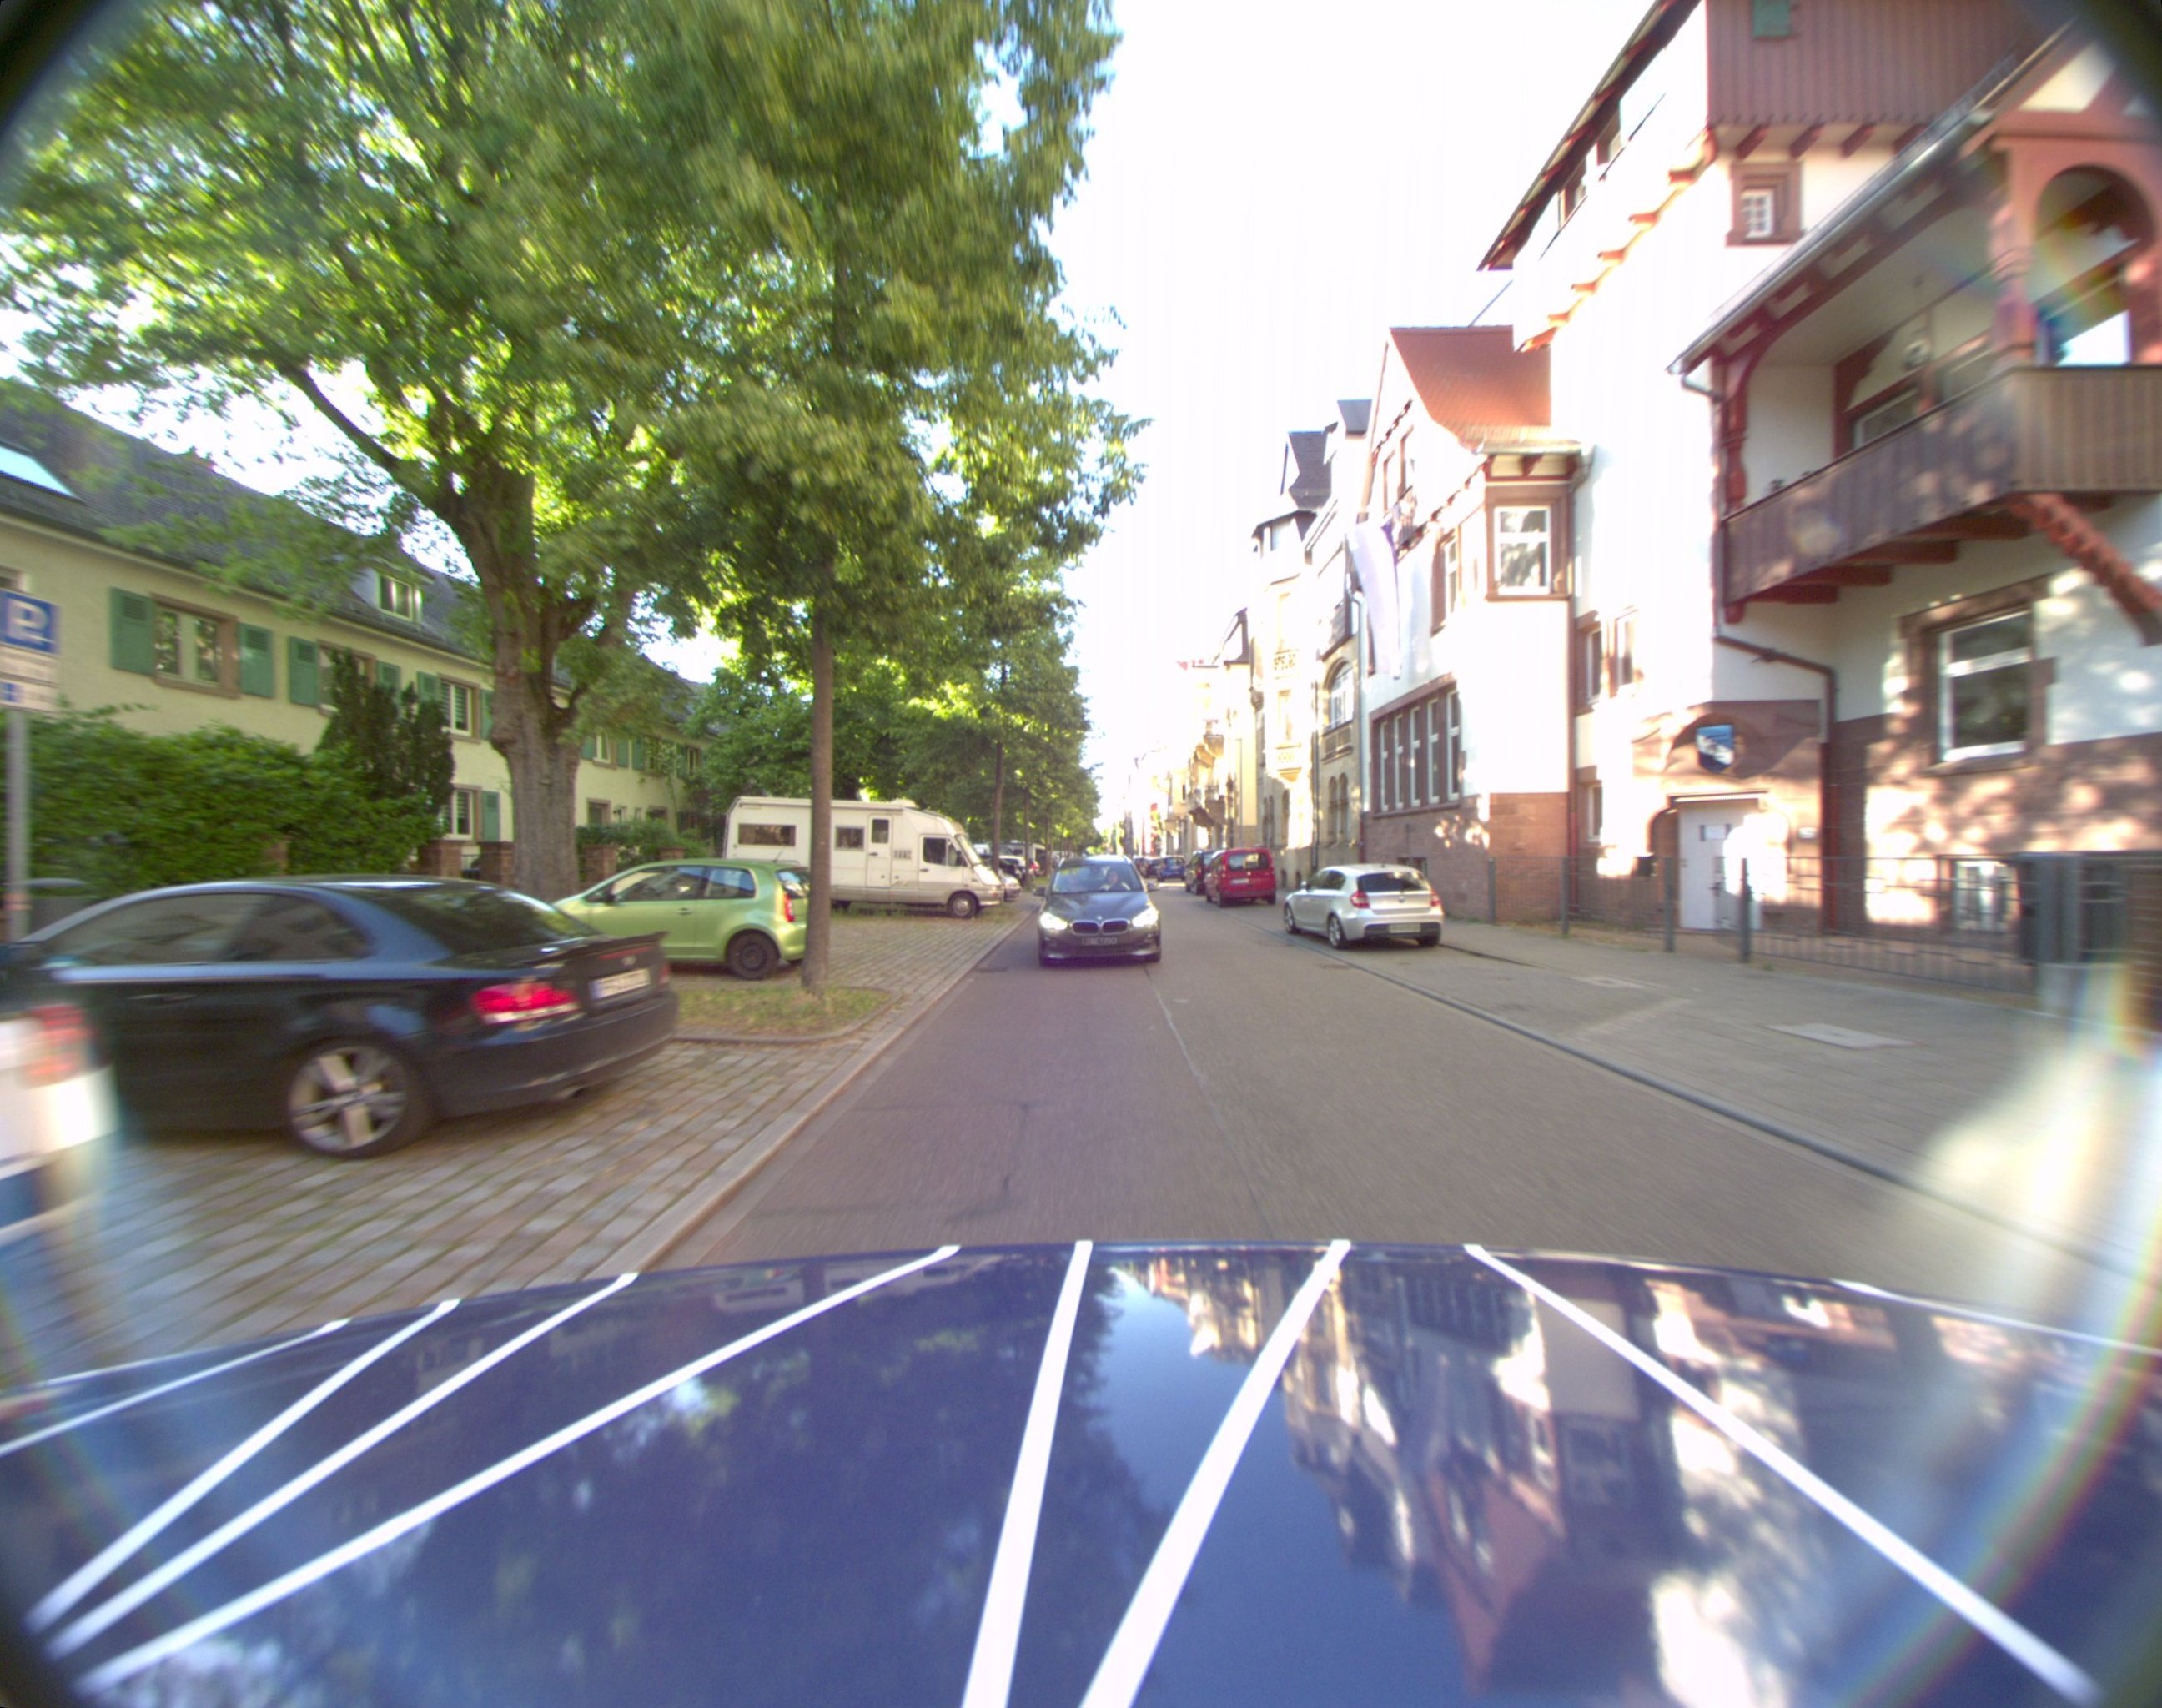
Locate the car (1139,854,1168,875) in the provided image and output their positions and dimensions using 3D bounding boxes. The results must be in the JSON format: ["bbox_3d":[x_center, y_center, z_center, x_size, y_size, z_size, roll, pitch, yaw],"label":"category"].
[{"bbox_3d":[5.659,0.774,59.805,1.694,1.458,3.773,-5,0,-1],"label":"car"}]

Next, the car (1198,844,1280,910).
[{"bbox_3d":[5.077,0.675,24.941,1.803,1.896,4.324,-2,0,1],"label":"car"}]

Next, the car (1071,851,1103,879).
[{"bbox_3d":[0.412,0.690,50.396,1.998,1.745,4.000,0,0,1],"label":"car"}]

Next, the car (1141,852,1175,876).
[{"bbox_3d":[5.406,0.674,53.864,1.905,1.430,4.541,-4,0,0],"label":"car"}]

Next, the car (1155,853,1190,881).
[{"bbox_3d":[5.374,0.740,44.930,1.688,1.500,2.861,-4,0,1],"label":"car"}]

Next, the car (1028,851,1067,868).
[{"bbox_3d":[-3.548,0.611,81.417,3.997,1.804,2.000,0,1,1],"label":"car"}]

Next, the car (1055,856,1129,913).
[{"bbox_3d":[0.247,0.900,24.119,1.999,1.584,4.261,-2,0,-3],"label":"car"}]

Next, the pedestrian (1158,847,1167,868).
[{"bbox_3d":[7.421,0.326,69.065,0.695,1.837,0.497,-2,1,-1],"label":"pedestrian"}]

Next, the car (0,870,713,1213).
[{"bbox_3d":[-4.681,0.894,4.471,4.115,1.403,1.792,2,1,1],"label":"car"}]

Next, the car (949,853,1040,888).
[{"bbox_3d":[-4.300,0.792,38.157,4.344,1.599,1.927,1,1,0],"label":"car"}]

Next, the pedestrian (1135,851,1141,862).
[{"bbox_3d":[8.528,0.337,113.771,0.779,1.693,1.010,0,1,1],"label":"pedestrian"}]

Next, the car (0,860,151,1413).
[{"bbox_3d":[-5.111,0.860,1.883,3.701,1.641,1.704,0,1,4],"label":"car"}]

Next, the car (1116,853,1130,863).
[{"bbox_3d":[6.398,0.548,115.082,1.922,1.510,4.000,0,0,1],"label":"car"}]

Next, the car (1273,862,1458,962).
[{"bbox_3d":[4.945,0.920,13.853,1.748,1.458,4.102,-1,0,-1],"label":"car"}]

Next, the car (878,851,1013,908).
[{"bbox_3d":[-4.392,0.802,24.984,3.971,1.589,1.903,2,1,3],"label":"car"}]

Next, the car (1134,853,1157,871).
[{"bbox_3d":[5.632,0.694,66.898,1.747,1.457,3.998,-2,0,2],"label":"car"}]

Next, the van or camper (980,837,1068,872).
[{"bbox_3d":[-4.775,-0.004,64.832,7.266,2.888,2.427,0,2,1],"label":"van or camper"}]

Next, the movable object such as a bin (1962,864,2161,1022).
[{"bbox_3d":[9.136,0.749,6.774,1.378,1.291,0.969,-1,1,10],"label":"movable object such as a bin"}]

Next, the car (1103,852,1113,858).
[{"bbox_3d":[7.063,0.255,199.928,2.000,1.529,3.997,-3,0,-7],"label":"car"}]

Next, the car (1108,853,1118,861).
[{"bbox_3d":[5.685,0.597,135.663,1.702,1.372,4.000,0,0,1],"label":"car"}]

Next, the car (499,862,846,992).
[{"bbox_3d":[-5.137,0.877,9.884,3.598,1.496,1.678,1,0,2],"label":"car"}]

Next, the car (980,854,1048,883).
[{"bbox_3d":[-3.568,0.768,40.880,3.456,1.467,1.693,1,1,1],"label":"car"}]

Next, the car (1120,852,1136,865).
[{"bbox_3d":[6.124,0.606,98.983,1.862,1.595,4.000,-3,0,1],"label":"car"}]

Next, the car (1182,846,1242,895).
[{"bbox_3d":[5.364,0.624,31.693,1.774,1.841,4.542,-2,0,1],"label":"car"}]

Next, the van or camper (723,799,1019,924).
[{"bbox_3d":[-5.254,0.169,19.970,7.095,3.060,2.464,0,1,-2],"label":"van or camper"}]

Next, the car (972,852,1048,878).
[{"bbox_3d":[-4.358,0.674,47.028,4.468,1.469,1.753,2,1,2],"label":"car"}]

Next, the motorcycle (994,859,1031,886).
[{"bbox_3d":[-3.167,0.844,34.993,0.739,1.190,1.771,-1,1,-43],"label":"motorcycle"}]

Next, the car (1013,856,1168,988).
[{"bbox_3d":[0.173,0.891,12.119,1.924,1.597,4.517,-3,0,1],"label":"car"}]

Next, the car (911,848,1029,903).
[{"bbox_3d":[-3.932,0.744,27.285,3.924,1.734,1.729,2,1,1],"label":"car"}]
